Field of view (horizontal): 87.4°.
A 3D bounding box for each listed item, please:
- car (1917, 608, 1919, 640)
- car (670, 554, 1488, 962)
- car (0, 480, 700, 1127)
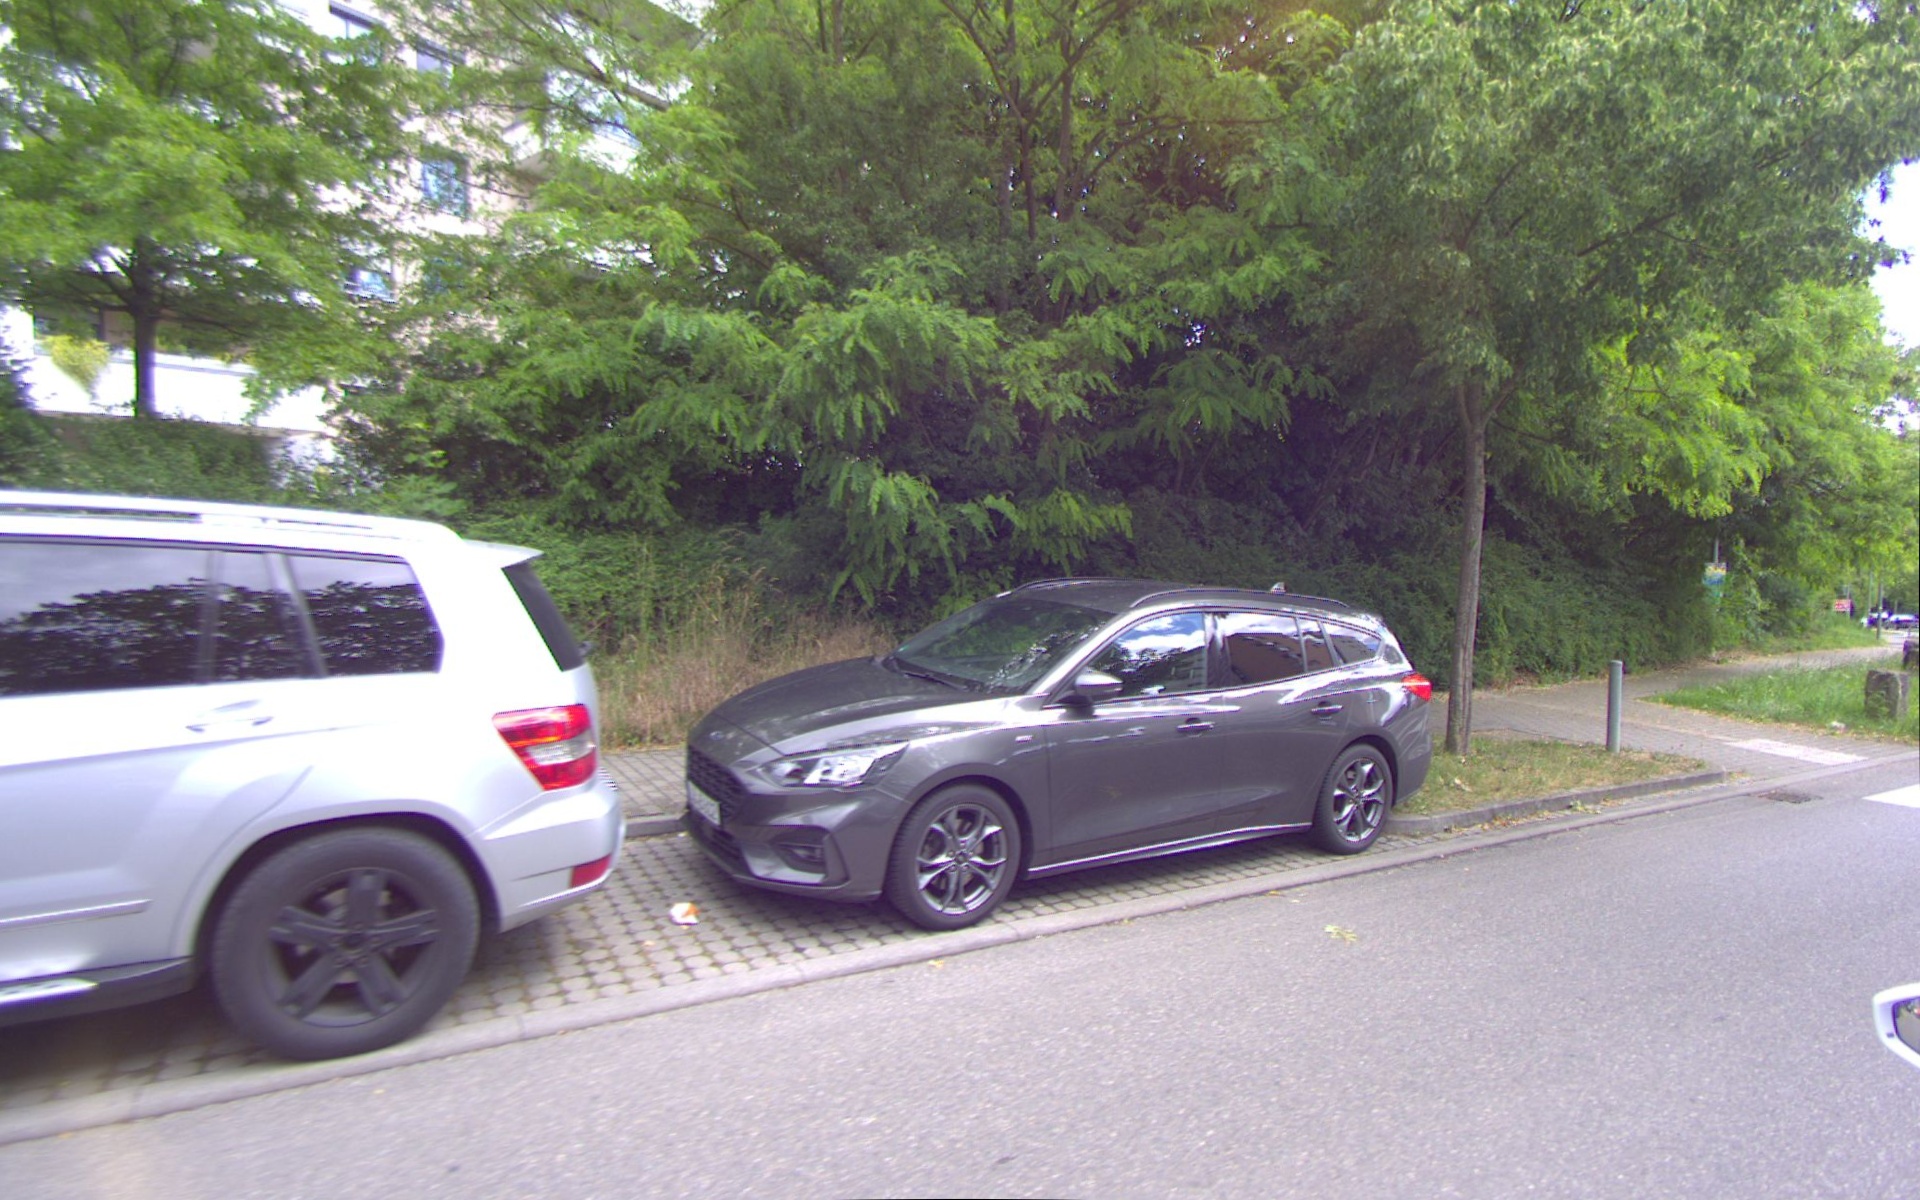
[{"bbox_3d":[45.793,1.145,46.411,1.861,1.529,4.432,3,1,39],"label":"car"},{"bbox_3d":[0.811,0.584,5.638,4.404,1.485,1.681,0,5,-31],"label":"car"},{"bbox_3d":[-3.237,0.448,3.033,4.426,1.637,1.790,0,5,-31],"label":"car"}]
